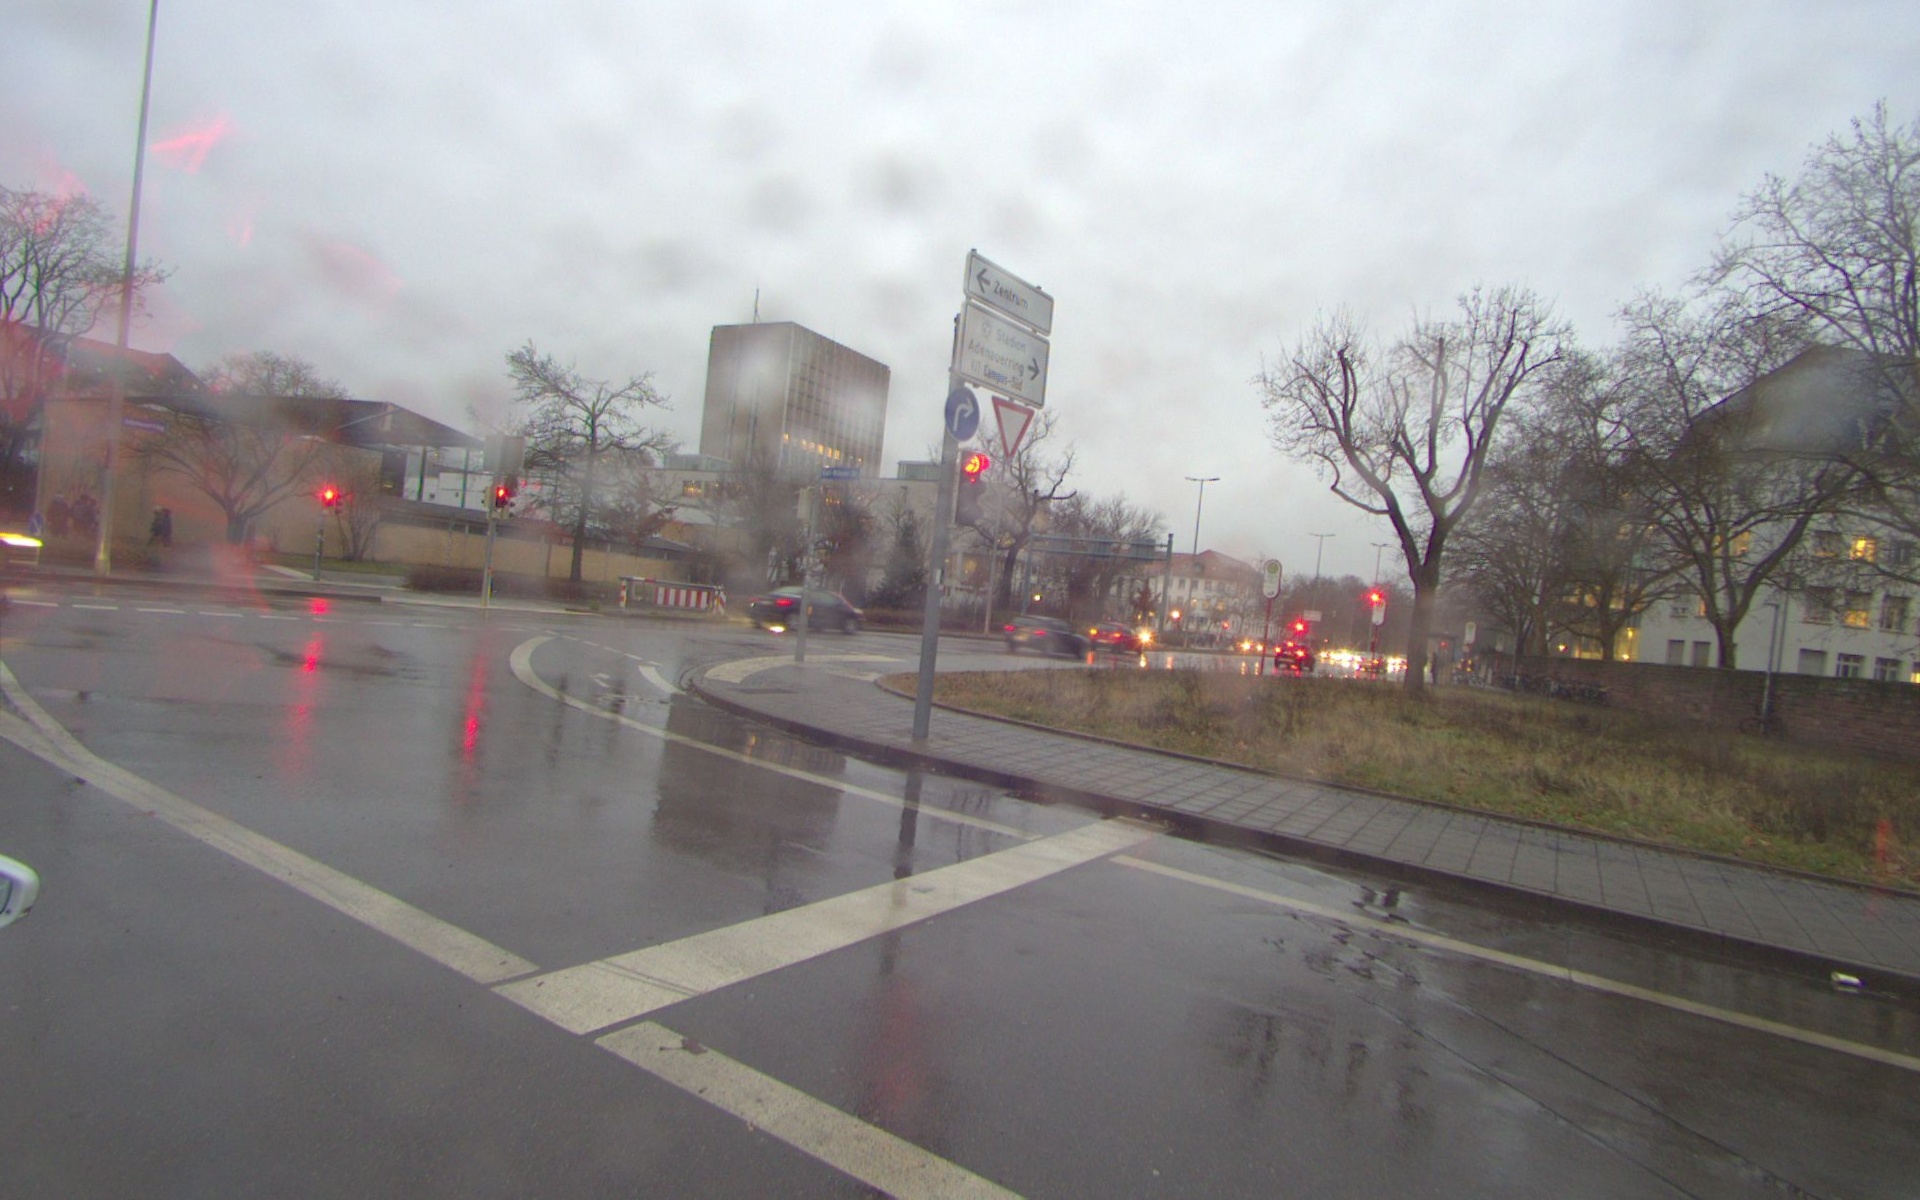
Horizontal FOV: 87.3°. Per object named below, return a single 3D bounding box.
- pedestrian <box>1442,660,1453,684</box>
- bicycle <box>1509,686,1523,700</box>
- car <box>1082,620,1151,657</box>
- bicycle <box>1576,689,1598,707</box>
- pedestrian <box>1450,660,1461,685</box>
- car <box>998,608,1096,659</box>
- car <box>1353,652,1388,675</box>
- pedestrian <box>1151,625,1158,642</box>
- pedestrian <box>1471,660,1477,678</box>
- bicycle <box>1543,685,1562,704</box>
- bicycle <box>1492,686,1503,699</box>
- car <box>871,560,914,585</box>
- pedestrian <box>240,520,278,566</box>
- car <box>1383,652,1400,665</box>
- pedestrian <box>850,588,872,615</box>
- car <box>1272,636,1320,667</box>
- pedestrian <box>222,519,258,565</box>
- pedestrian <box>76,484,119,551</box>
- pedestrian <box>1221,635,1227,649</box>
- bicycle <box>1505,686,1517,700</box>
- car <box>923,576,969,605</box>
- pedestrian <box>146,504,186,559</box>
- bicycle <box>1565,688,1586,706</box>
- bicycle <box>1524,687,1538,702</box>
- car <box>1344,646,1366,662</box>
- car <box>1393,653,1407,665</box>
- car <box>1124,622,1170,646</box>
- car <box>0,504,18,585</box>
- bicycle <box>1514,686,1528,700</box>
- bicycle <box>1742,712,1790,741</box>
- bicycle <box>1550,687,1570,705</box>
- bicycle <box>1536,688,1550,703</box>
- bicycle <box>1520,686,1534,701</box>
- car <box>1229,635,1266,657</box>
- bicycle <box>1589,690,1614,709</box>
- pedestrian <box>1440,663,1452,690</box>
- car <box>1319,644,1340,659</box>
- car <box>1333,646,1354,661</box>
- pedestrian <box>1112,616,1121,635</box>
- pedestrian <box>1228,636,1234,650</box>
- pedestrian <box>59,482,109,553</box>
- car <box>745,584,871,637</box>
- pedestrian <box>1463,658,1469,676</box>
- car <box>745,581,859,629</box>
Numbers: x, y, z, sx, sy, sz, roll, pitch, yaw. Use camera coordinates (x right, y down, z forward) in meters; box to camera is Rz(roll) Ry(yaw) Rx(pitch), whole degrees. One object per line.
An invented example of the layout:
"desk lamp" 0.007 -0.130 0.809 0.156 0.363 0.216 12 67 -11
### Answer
"pedestrian" 41.314 6.093 85.229 0.557 2.040 0.595 8 2 33
"bicycle" 34.346 5.751 62.148 0.387 0.795 1.532 7 -2 20
"car" 8.000 1.996 51.103 1.811 1.602 4.126 6 0 33
"bicycle" 30.545 4.777 48.996 0.387 0.795 1.533 7 -2 14
"pedestrian" 41.829 6.148 84.891 0.557 2.040 0.595 8 2 33
"car" 3.373 1.310 38.353 1.812 1.602 4.125 6 0 34
"car" 34.318 5.305 84.097 1.811 1.710 4.311 6 0 32
"pedestrian" 20.364 3.532 105.226 0.411 1.725 0.430 8 3 44
"pedestrian" 51.809 6.922 101.363 0.313 1.816 0.461 7 2 32
"bicycle" 31.838 5.083 54.083 0.387 0.927 1.532 7 -2 15
"bicycle" 36.387 6.258 68.103 0.387 0.795 1.532 7 -2 20
"car" -7.098 -2.903 106.468 2.014 2.102 4.892 6 0 30
"pedestrian" -25.746 -2.096 36.959 0.921 1.553 1.030 5 2 -43
"car" 68.608 9.342 160.017 1.965 1.783 3.993 7 1 27
"pedestrian" -6.393 0.085 65.081 0.783 1.624 0.960 8 2 39
"car" 22.225 3.421 66.376 1.812 1.710 4.312 6 -1 34
"pedestrian" -26.877 -2.167 37.543 0.890 1.553 0.875 5 2 -43
"pedestrian" -29.123 -2.778 33.969 0.874 2.141 0.890 8 2 44
"pedestrian" 32.965 5.268 125.663 0.404 1.713 0.561 7 2 28
"bicycle" 34.847 5.876 63.622 0.387 0.795 1.532 7 -2 20
"car" -1.392 -0.983 103.166 2.014 2.452 5.326 6 0 30
"pedestrian" -28.306 -2.441 35.847 0.992 1.823 0.908 5 2 -41
"bicycle" 31.035 4.884 50.740 0.343 0.848 1.493 7 -2 13
"bicycle" 32.837 5.413 57.862 0.387 0.795 1.532 7 -2 19
"car" 51.641 7.089 131.488 1.966 1.783 3.992 7 1 29
"car" 77.195 10.311 176.482 1.834 1.783 3.993 7 1 27
"car" 14.069 2.592 75.616 1.782 1.496 4.415 6 0 33
"car" -17.973 -1.144 15.652 1.912 1.318 4.674 6 0 42
"bicycle" 33.825 5.624 60.659 0.387 0.795 1.532 7 -2 20
"bicycle" 28.199 4.406 35.221 0.387 0.834 1.386 7 -2 -4
"bicycle" 31.353 4.988 52.552 0.387 0.868 1.532 7 -2 15
"bicycle" 32.409 5.299 55.949 0.387 0.795 1.607 7 -2 22
"bicycle" 33.319 5.496 59.141 0.387 0.795 1.532 7 -2 20
"car" 30.461 4.813 106.830 2.010 1.903 5.335 6 0 -2
"bicycle" 30.271 4.680 47.472 0.352 0.795 1.415 7 -2 8
"pedestrian" 30.148 4.742 62.414 0.462 1.623 0.486 7 -1 25
"car" 49.282 6.881 134.144 1.966 1.783 3.992 7 1 29
"car" 53.424 7.413 140.171 1.966 1.783 3.992 7 1 29
"pedestrian" 14.744 2.371 94.725 0.411 1.725 0.430 8 3 44
"pedestrian" 33.819 5.383 125.609 0.404 1.713 0.427 7 2 28
"pedestrian" -28.548 -2.681 32.784 0.871 2.141 0.893 7 2 32
"car" -4.775 0.351 31.967 1.676 1.318 3.752 6 0 38
"pedestrian" 51.421 6.846 102.283 0.313 1.816 0.461 7 2 32
"car" -6.182 0.241 39.744 1.783 1.496 4.412 6 0 35
